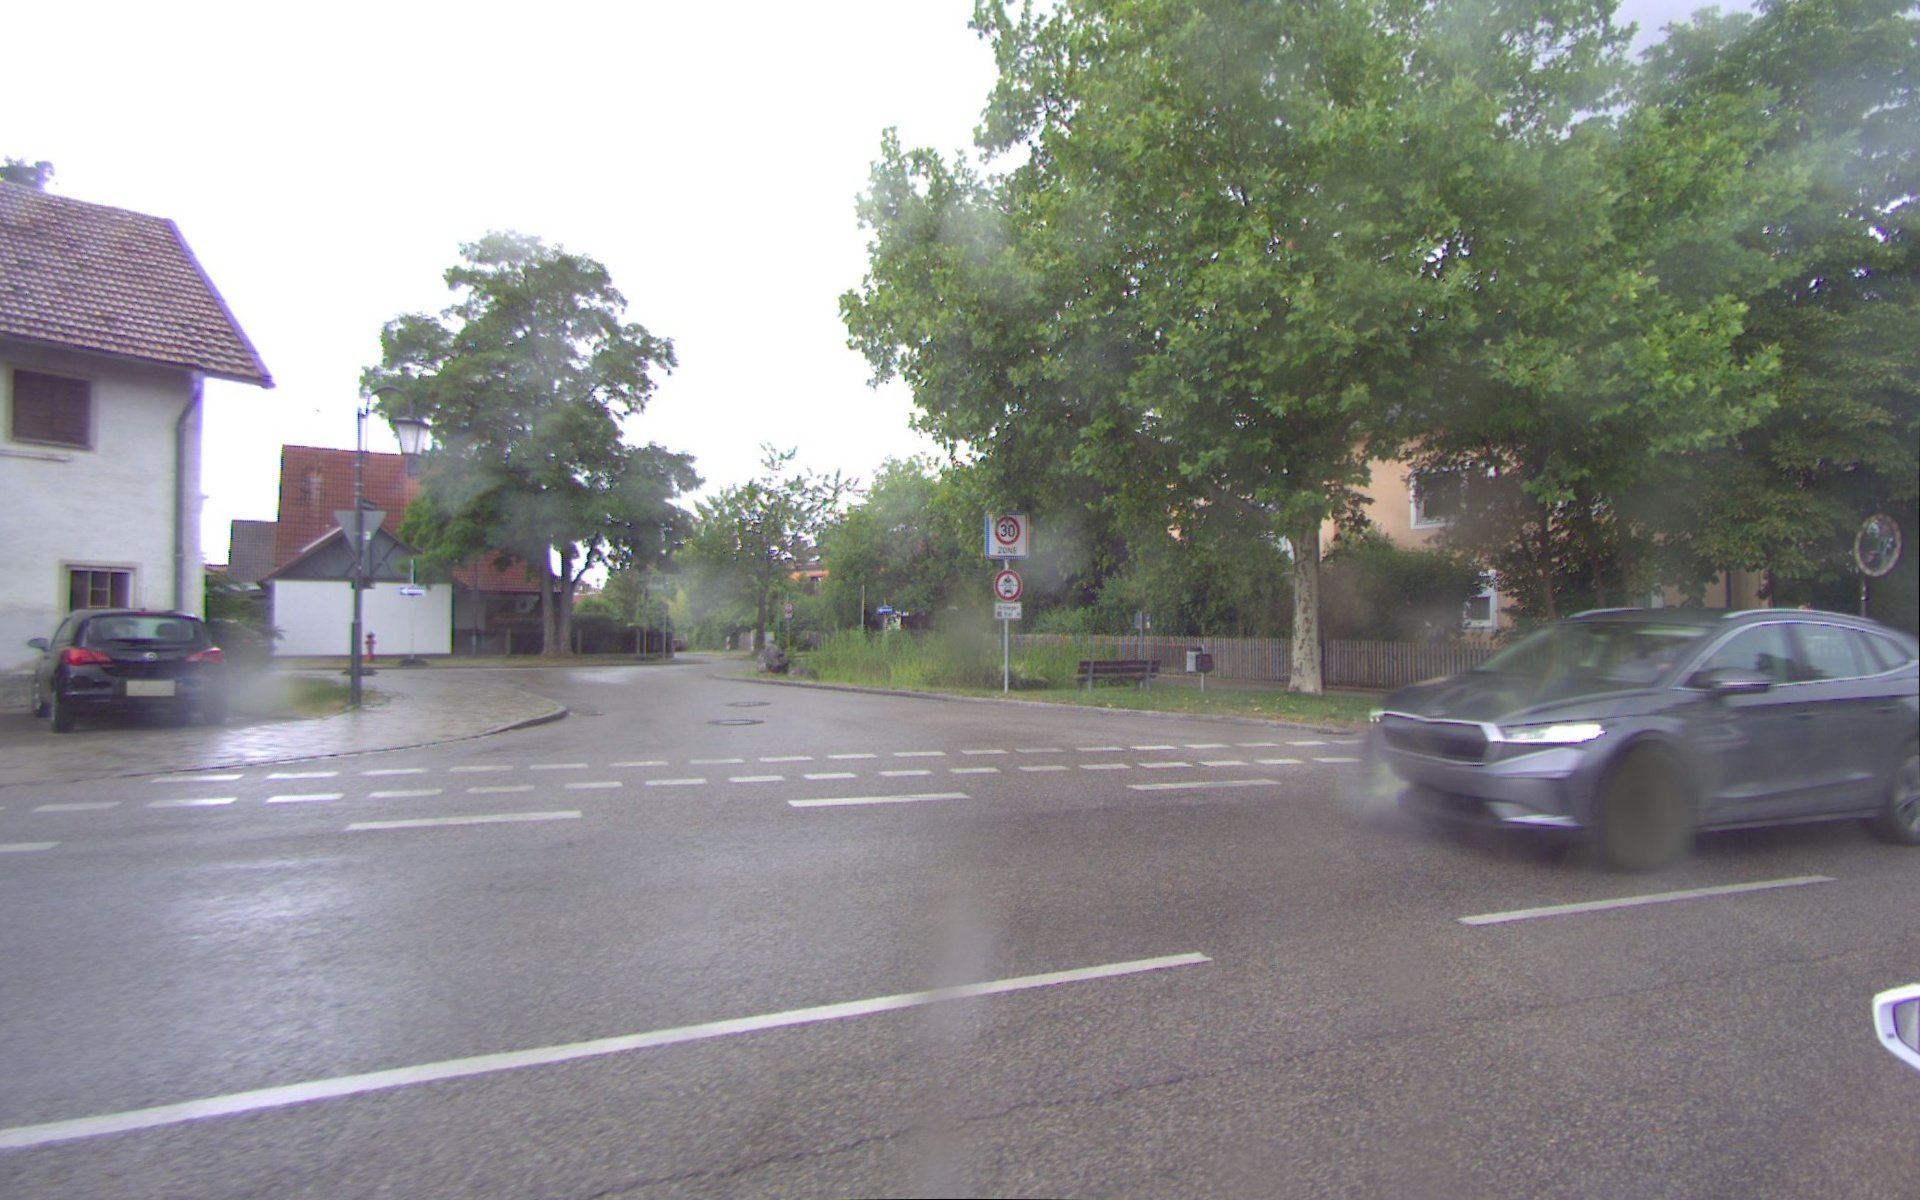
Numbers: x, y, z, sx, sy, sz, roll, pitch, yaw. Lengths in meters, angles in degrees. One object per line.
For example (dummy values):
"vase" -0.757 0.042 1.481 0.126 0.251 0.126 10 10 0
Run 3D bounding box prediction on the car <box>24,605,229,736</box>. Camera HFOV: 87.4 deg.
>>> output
"car" -10.939 0.840 13.454 1.804 1.455 4.237 2 -2 -36

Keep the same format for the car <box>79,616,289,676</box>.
"car" -21.652 1.286 28.217 4.208 1.569 1.875 1 -2 -14

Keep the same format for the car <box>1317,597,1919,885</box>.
"car" 4.950 0.831 7.326 4.129 1.616 1.990 1 0 -21
